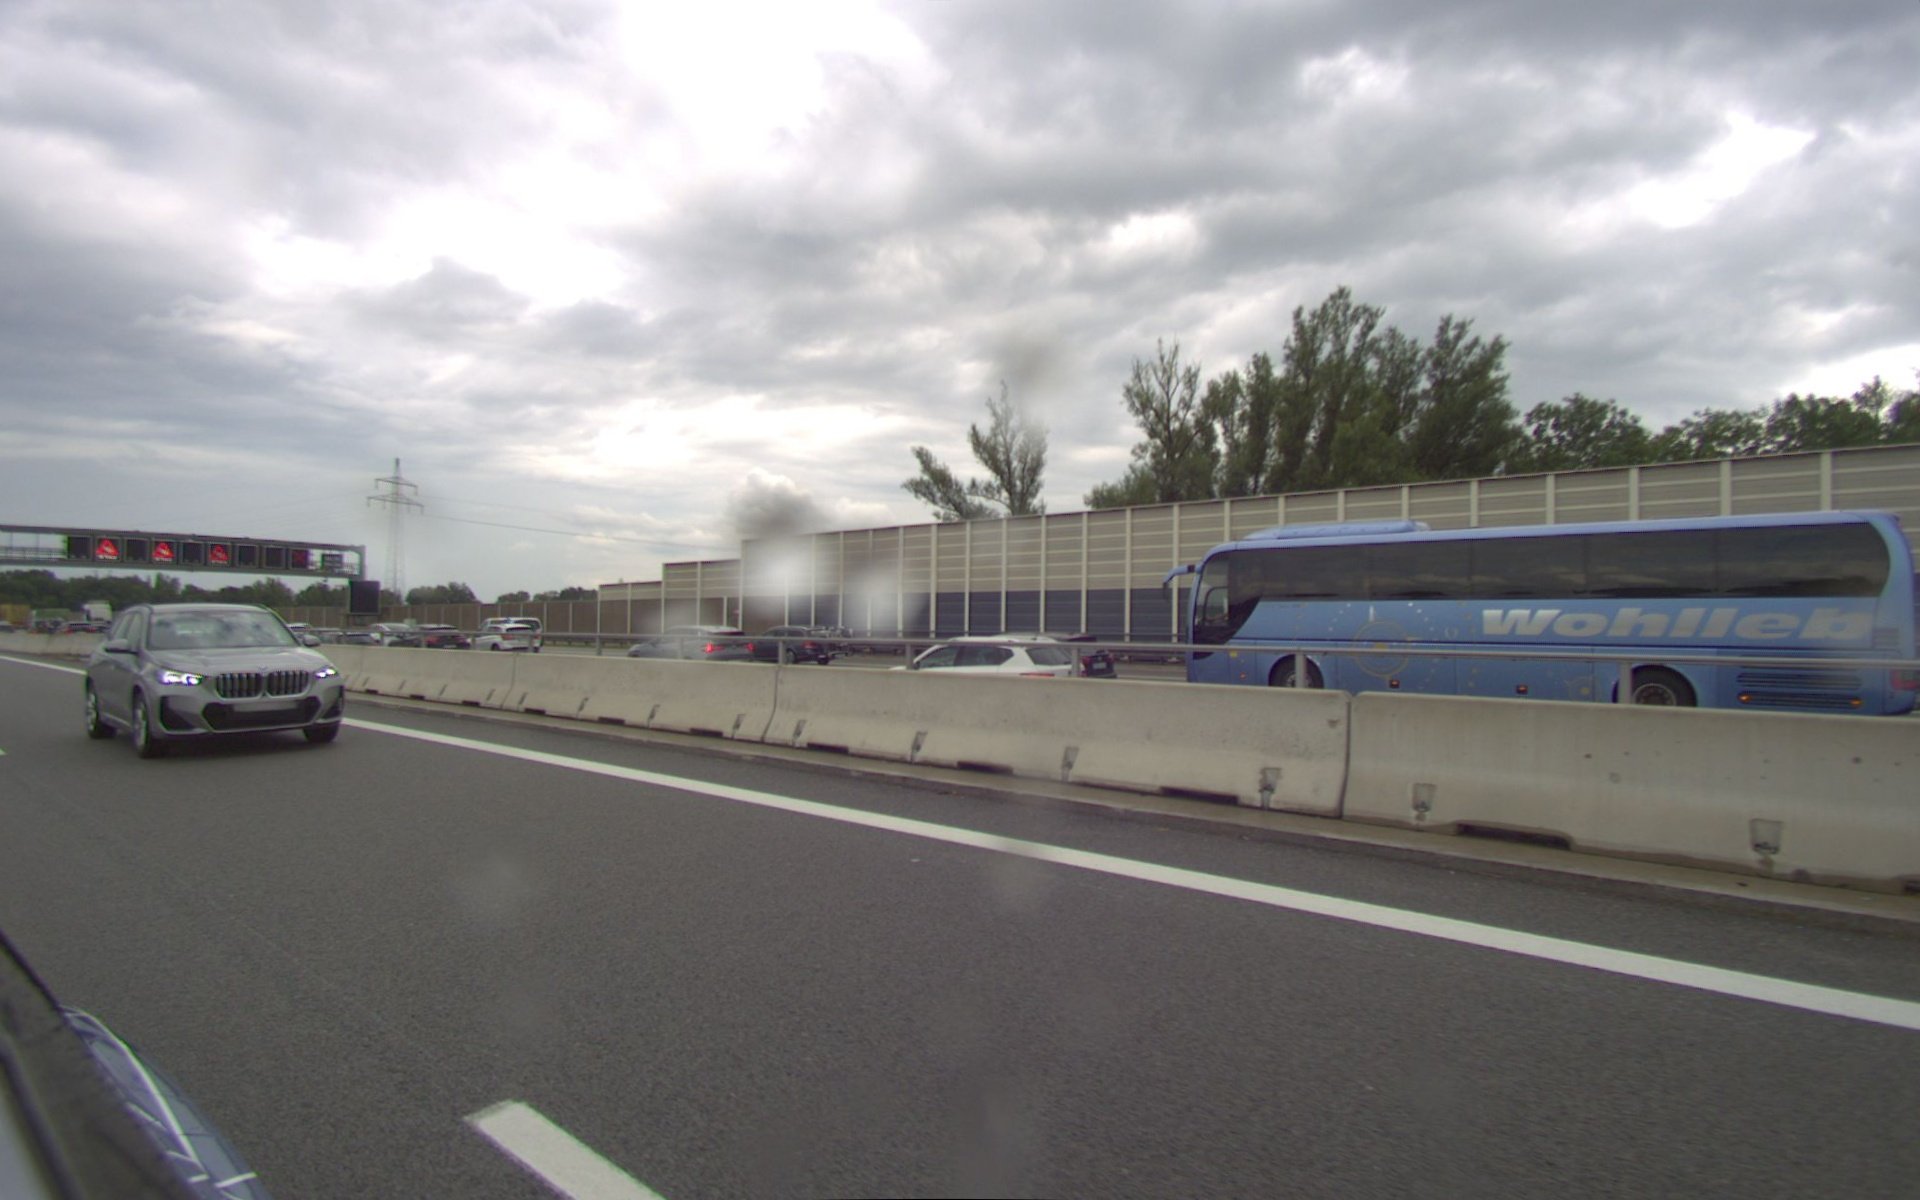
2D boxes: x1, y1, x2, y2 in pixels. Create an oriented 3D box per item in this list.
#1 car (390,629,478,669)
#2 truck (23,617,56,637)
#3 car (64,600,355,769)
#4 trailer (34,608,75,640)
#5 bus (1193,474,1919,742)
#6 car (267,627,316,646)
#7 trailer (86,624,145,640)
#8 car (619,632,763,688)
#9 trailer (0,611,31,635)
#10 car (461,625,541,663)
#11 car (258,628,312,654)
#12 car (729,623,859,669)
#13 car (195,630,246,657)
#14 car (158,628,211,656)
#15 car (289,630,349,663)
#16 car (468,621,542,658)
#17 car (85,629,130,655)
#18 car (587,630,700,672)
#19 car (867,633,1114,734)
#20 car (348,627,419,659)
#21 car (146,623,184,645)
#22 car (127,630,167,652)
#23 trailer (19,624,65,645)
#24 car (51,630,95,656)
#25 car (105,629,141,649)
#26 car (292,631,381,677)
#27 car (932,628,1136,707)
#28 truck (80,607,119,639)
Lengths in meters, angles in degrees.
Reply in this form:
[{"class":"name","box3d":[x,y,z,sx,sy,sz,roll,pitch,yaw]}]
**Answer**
[{"class":"car","box3d":[-22.308,2.030,42.876,4.176,1.623,1.914,-2,-2,41]},{"class":"truck","box3d":[-132.113,3.893,145.216,7.830,2.835,2.663,-1,-2,41]},{"class":"car","box3d":[-9.117,0.875,12.108,4.912,1.637,1.817,-2,-1,41]},{"class":"trailer","box3d":[-93.214,2.508,104.157,6.047,3.162,2.424,-2,-2,41]},{"class":"bus","box3d":[10.499,0.255,19.124,11.876,3.787,3.059,-2,-2,41]},{"class":"car","box3d":[-51.412,2.803,77.803,4.569,1.411,1.845,-2,-2,39]},{"class":"trailer","box3d":[-98.945,3.725,118.453,16.339,1.842,2.724,-2,-2,41]},{"class":"car","box3d":[-8.124,1.724,30.285,4.925,1.537,1.729,-2,-2,41]},{"class":"trailer","box3d":[-157.711,3.838,168.523,12.967,3.963,2.998,-1,-2,41]},{"class":"car","box3d":[-20.577,1.963,45.331,4.176,1.623,1.729,-2,-2,41]},{"class":"car","box3d":[-43.491,2.619,65.163,4.388,1.643,1.730,-2,-2,40]},{"class":"car","box3d":[-6.455,1.725,38.879,5.685,1.623,1.729,-2,-2,41]},{"class":"car","box3d":[-45.718,2.667,62.527,4.165,1.643,1.728,-2,-2,43]},{"class":"car","box3d":[-41.103,2.207,53.622,3.574,1.404,1.555,-2,-2,41]},{"class":"car","box3d":[-32.779,2.356,51.722,3.617,1.592,1.604,-2,-2,41]},{"class":"car","box3d":[-24.470,2.121,54.349,4.779,1.908,1.729,-2,-2,40]},{"class":"car","box3d":[-55.671,2.734,66.068,3.746,1.643,1.729,-2,-2,41]},{"class":"car","box3d":[-11.862,1.861,37.794,4.711,1.441,1.730,-2,-2,40]},{"class":"car","box3d":[0.443,1.348,17.638,4.176,1.537,1.729,-2,-2,41]},{"class":"car","box3d":[-31.074,2.274,54.495,4.639,1.643,1.730,-2,-2,39]},{"class":"car","box3d":[-68.450,2.908,87.117,4.162,1.862,1.730,-2,-2,40]},{"class":"car","box3d":[-61.617,3.110,76.718,4.165,1.643,1.728,-2,-2,43]},{"class":"trailer","box3d":[-75.223,2.802,82.896,6.043,1.722,2.122,-1,-2,41]},{"class":"car","box3d":[-64.535,3.103,73.626,5.109,1.758,1.860,-2,-2,43]},{"class":"car","box3d":[-70.632,3.266,85.364,3.871,1.590,1.665,-2,-2,40]},{"class":"car","box3d":[-23.640,2.004,38.325,4.176,1.620,1.729,-2,-2,41]},{"class":"car","box3d":[1.501,1.373,21.655,4.176,1.537,1.729,-2,-2,41]},{"class":"truck","box3d":[-105.739,2.844,124.401,6.047,3.917,2.724,-2,-2,41]}]
